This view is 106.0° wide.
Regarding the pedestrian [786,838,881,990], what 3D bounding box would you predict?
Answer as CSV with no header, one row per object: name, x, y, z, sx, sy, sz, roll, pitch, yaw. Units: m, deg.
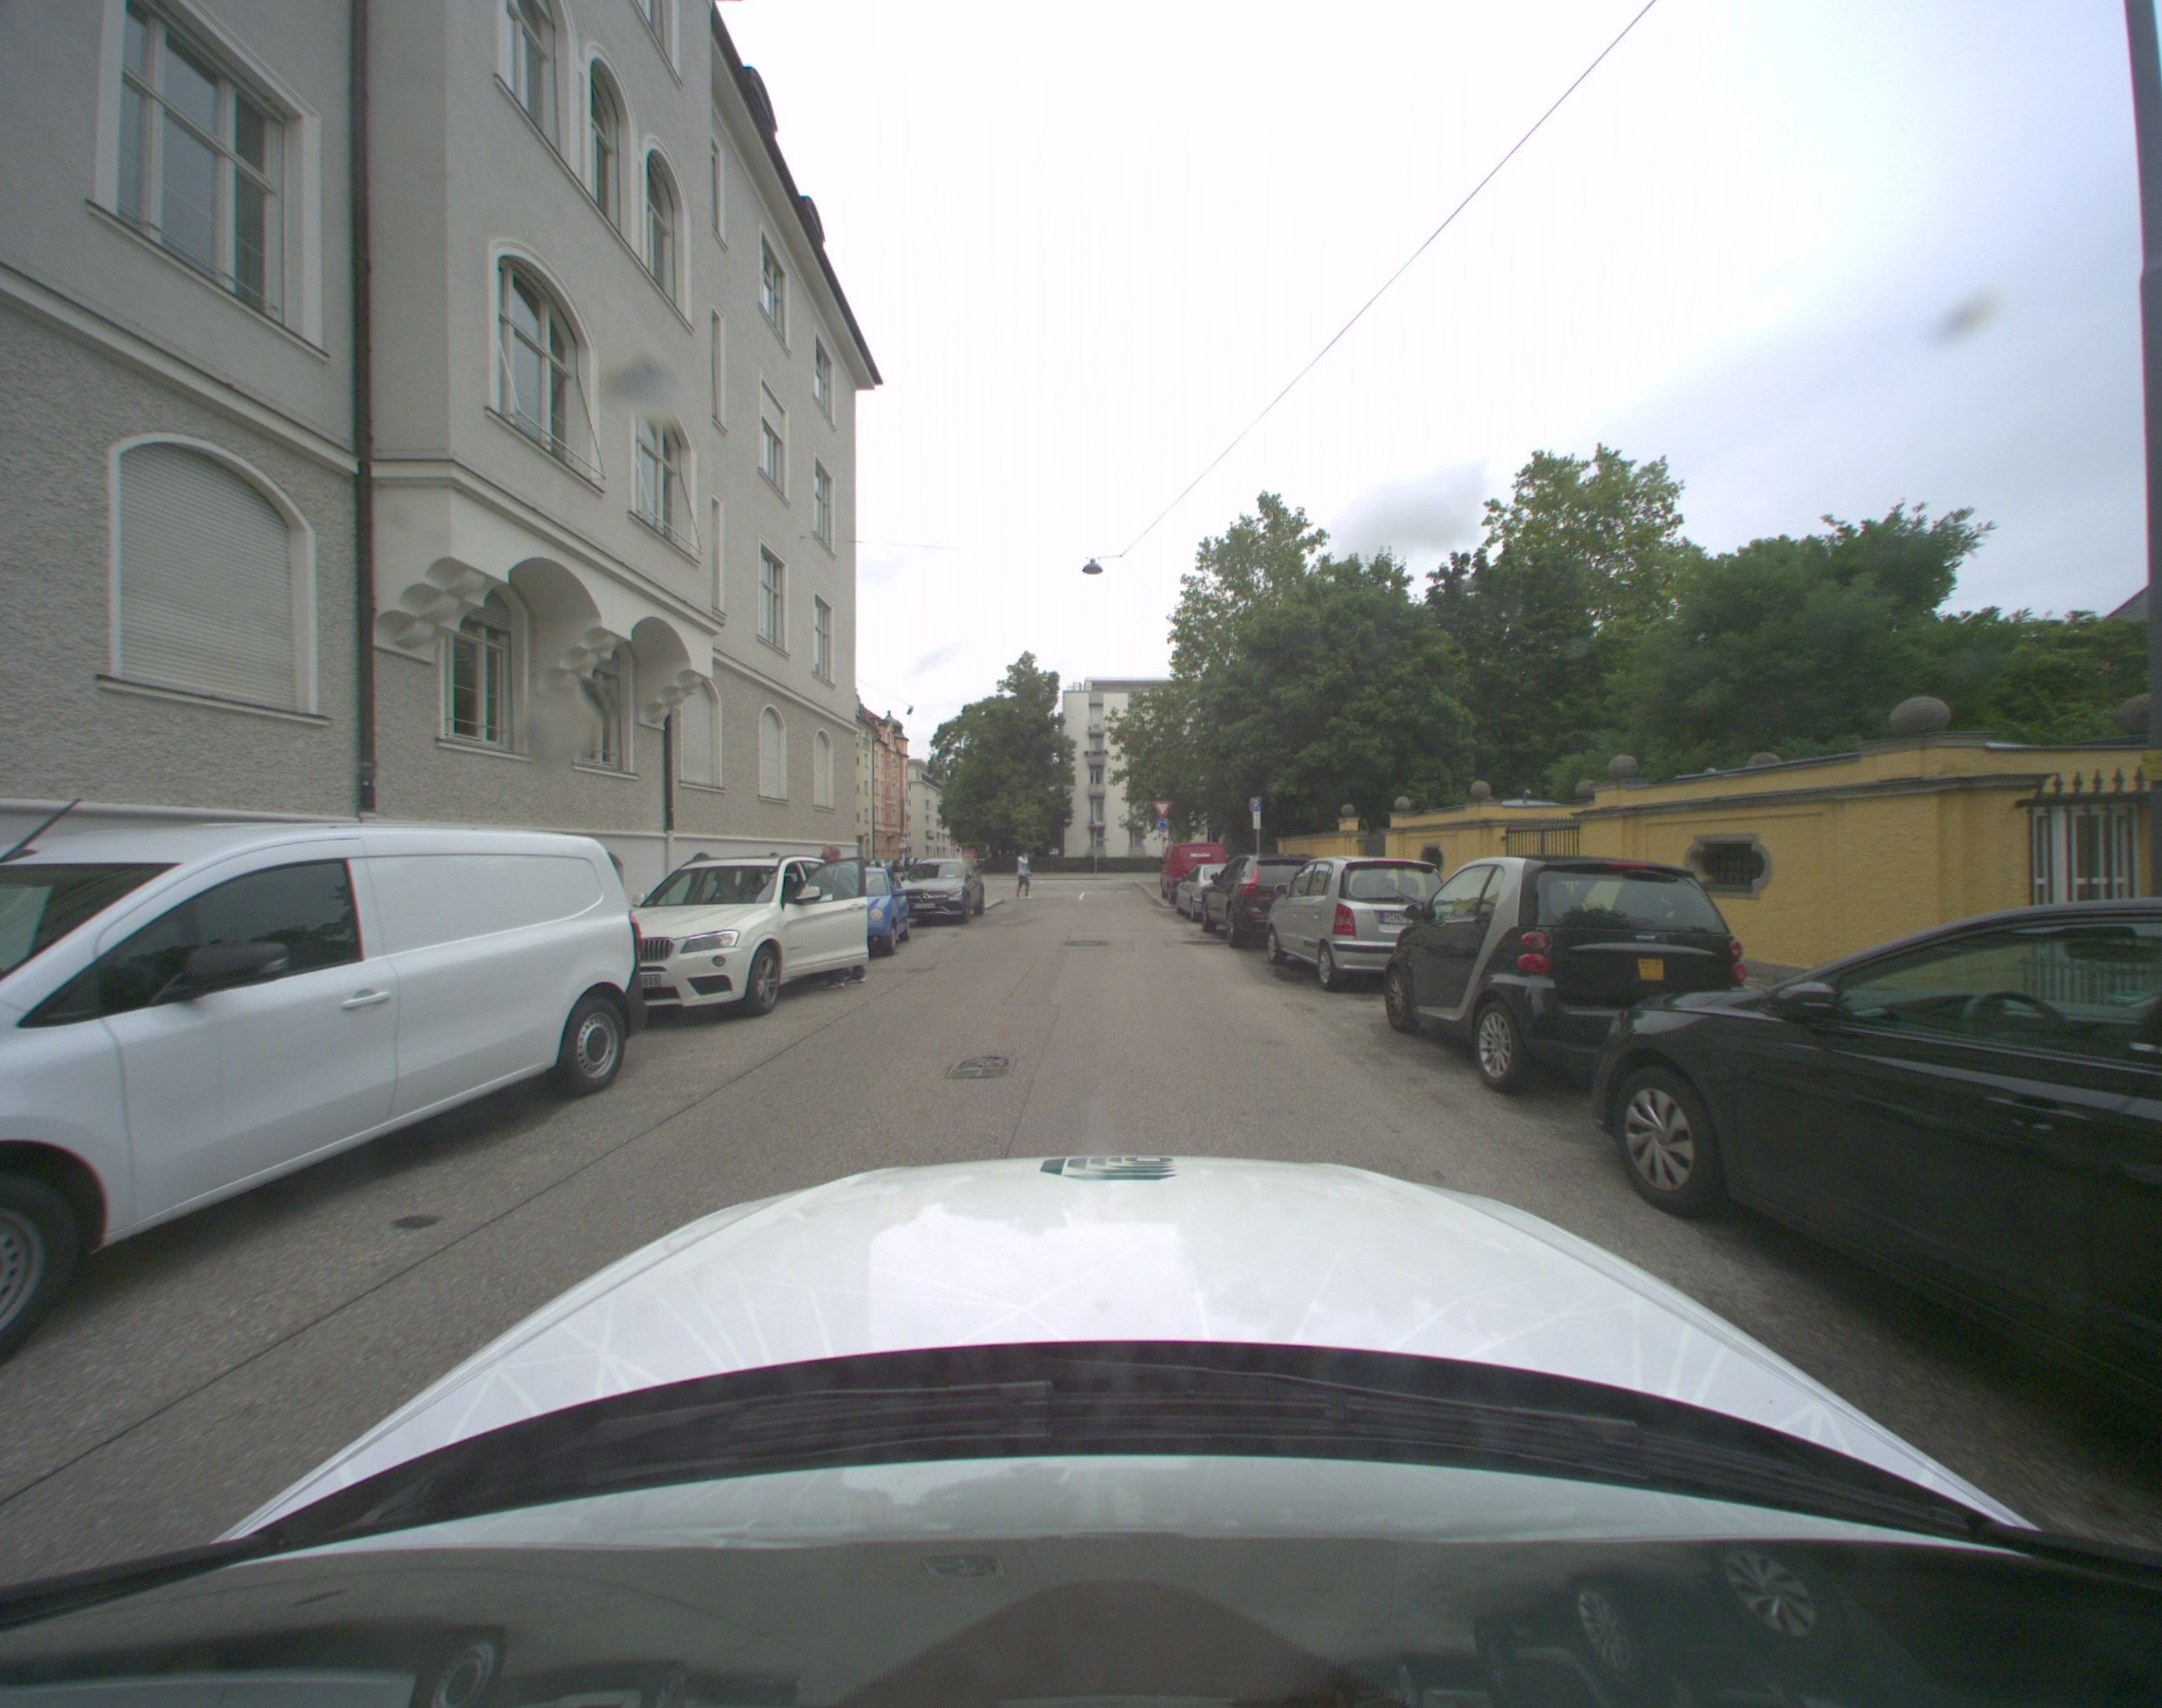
pedestrian,-3.068,0.698,10.070,0.967,1.756,0.868,0,-1,-29

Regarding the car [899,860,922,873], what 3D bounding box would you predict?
car,-21.328,1.522,101.904,1.969,1.581,4.407,0,0,0

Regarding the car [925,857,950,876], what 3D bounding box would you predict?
car,-12.208,1.071,69.586,1.817,1.505,4.411,-1,0,-7

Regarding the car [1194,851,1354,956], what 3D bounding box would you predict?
car,3.480,0.821,15.671,1.878,1.653,4.822,2,0,0

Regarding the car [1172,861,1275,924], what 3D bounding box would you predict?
car,3.669,0.954,21.767,1.879,1.448,4.366,2,0,-1

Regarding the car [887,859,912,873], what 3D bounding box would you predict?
car,-21.154,1.436,94.990,1.969,1.581,4.407,0,0,0

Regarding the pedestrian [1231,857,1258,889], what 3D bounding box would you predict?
pedestrian,6.928,0.790,34.503,1.005,1.338,0.878,0,-1,4

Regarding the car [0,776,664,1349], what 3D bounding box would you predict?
car,-4.224,0.678,3.877,1.740,1.788,5.038,-1,0,1

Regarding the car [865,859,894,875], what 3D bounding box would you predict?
car,-20.975,1.301,84.828,1.969,1.581,4.406,0,0,-1

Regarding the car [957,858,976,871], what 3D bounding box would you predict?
car,-14.933,1.321,106.445,1.829,1.634,3.819,-1,0,0

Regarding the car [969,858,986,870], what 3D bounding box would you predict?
car,-14.628,1.457,115.572,1.829,1.634,3.819,-1,0,0

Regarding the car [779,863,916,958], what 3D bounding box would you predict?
car,-3.996,0.899,14.491,1.690,1.414,3.655,-1,0,-6

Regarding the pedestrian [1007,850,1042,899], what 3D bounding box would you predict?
pedestrian,-2.090,0.752,30.214,1.053,1.771,0.869,0,-1,-24

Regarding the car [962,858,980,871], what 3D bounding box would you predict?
car,-14.906,1.385,110.489,1.829,1.634,3.819,-1,0,0

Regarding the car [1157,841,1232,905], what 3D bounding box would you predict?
car,3.718,0.599,27.505,1.867,1.921,4.888,1,0,1

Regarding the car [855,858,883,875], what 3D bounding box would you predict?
car,-20.769,1.220,79.952,1.972,1.616,4.704,0,0,-5

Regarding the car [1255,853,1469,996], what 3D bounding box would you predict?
car,3.483,0.784,10.788,1.480,1.539,3.690,2,0,-1

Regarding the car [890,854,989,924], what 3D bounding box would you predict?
car,-3.617,0.839,21.546,1.741,1.602,4.496,-1,0,1

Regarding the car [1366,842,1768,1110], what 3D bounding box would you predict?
car,3.437,0.741,6.356,1.502,1.566,2.871,2,0,3

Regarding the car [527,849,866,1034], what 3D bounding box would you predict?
car,-4.015,0.793,9.497,1.741,1.602,4.496,-1,0,1

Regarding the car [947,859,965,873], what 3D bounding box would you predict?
car,-14.773,1.402,96.170,1.832,1.505,4.107,-1,0,-5

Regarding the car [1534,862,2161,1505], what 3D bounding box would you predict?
car,3.256,0.760,2.338,1.686,1.414,4.036,2,0,1
